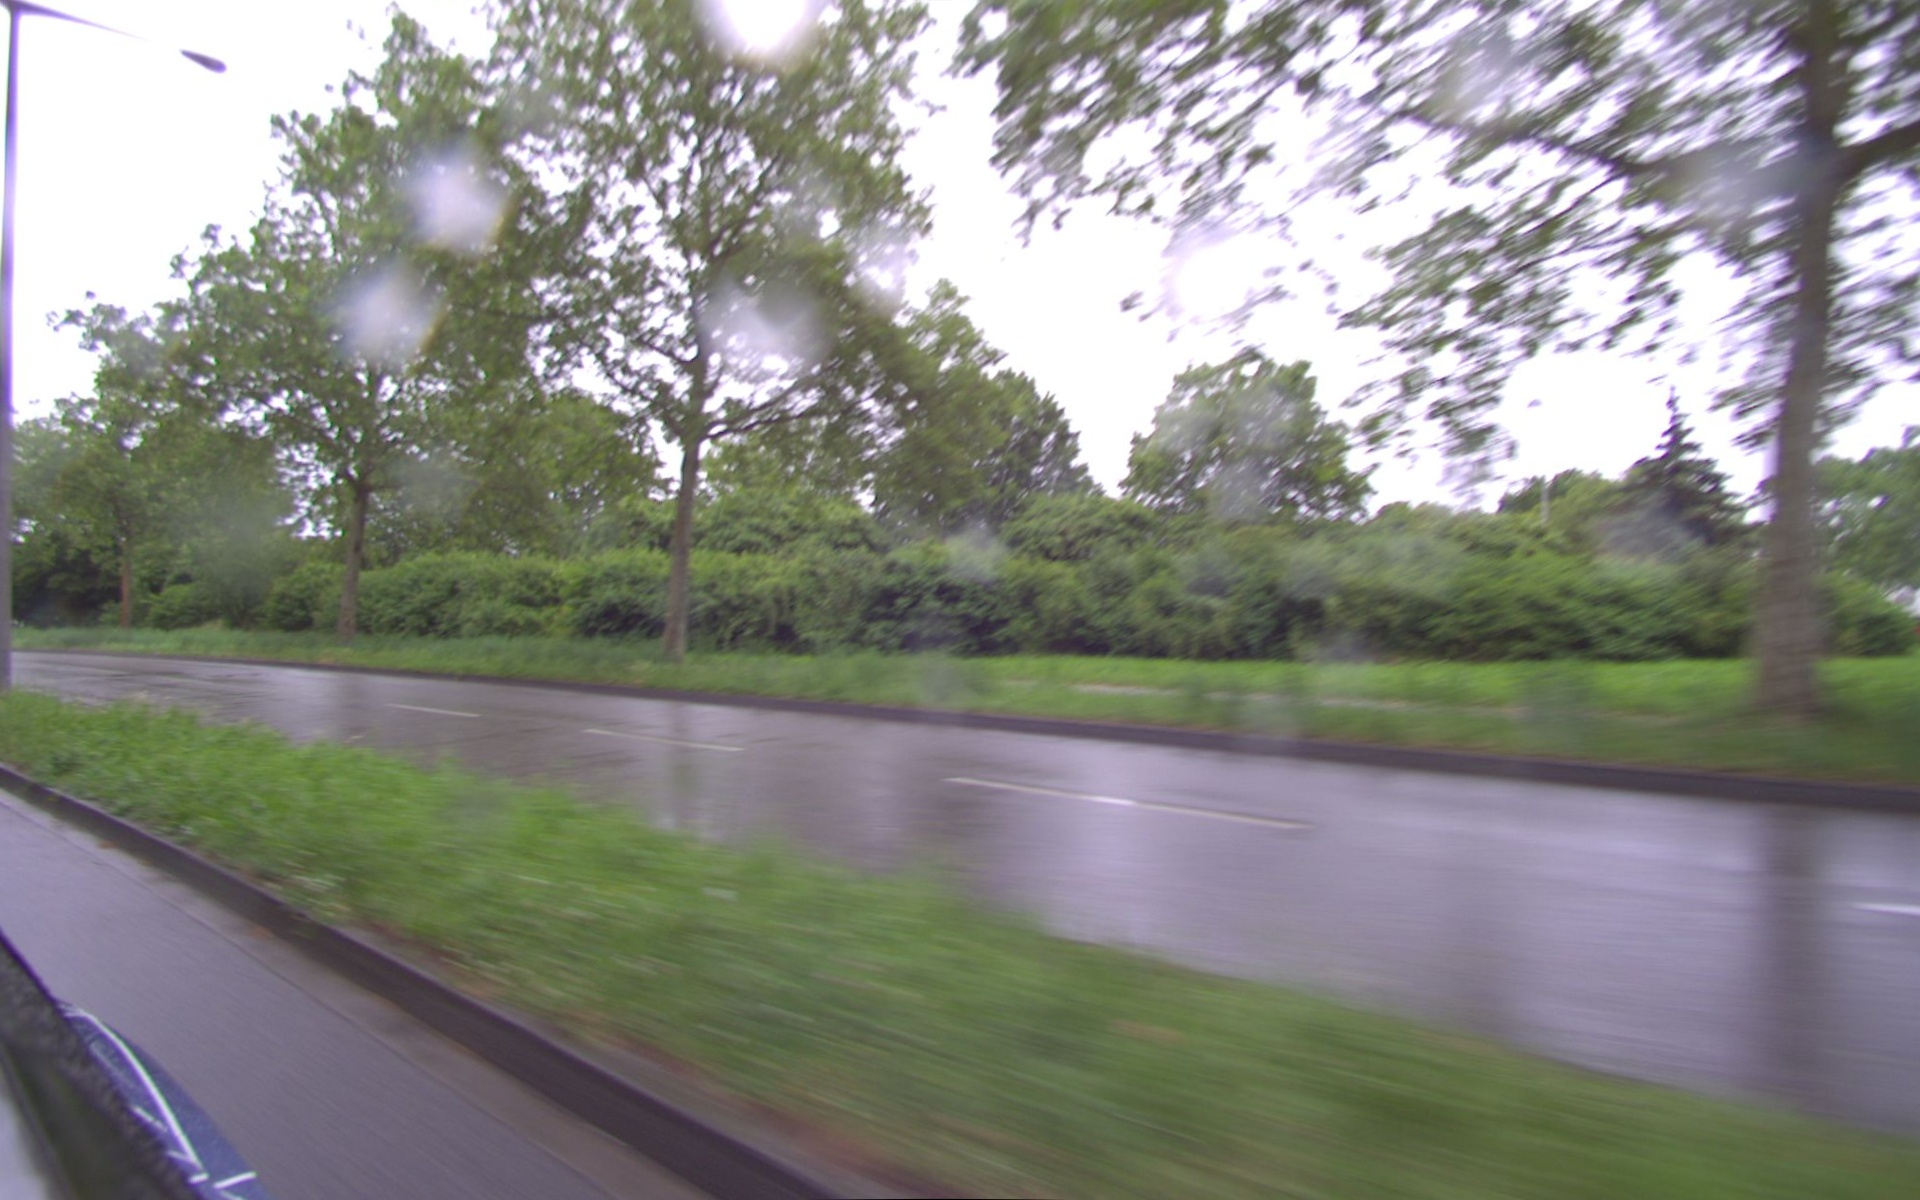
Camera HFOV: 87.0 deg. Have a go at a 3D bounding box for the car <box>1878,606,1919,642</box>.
[{"bbox_3d":[38.155,0.904,38.711,4.179,1.368,1.585,-1,-1,24],"label":"car"}]
